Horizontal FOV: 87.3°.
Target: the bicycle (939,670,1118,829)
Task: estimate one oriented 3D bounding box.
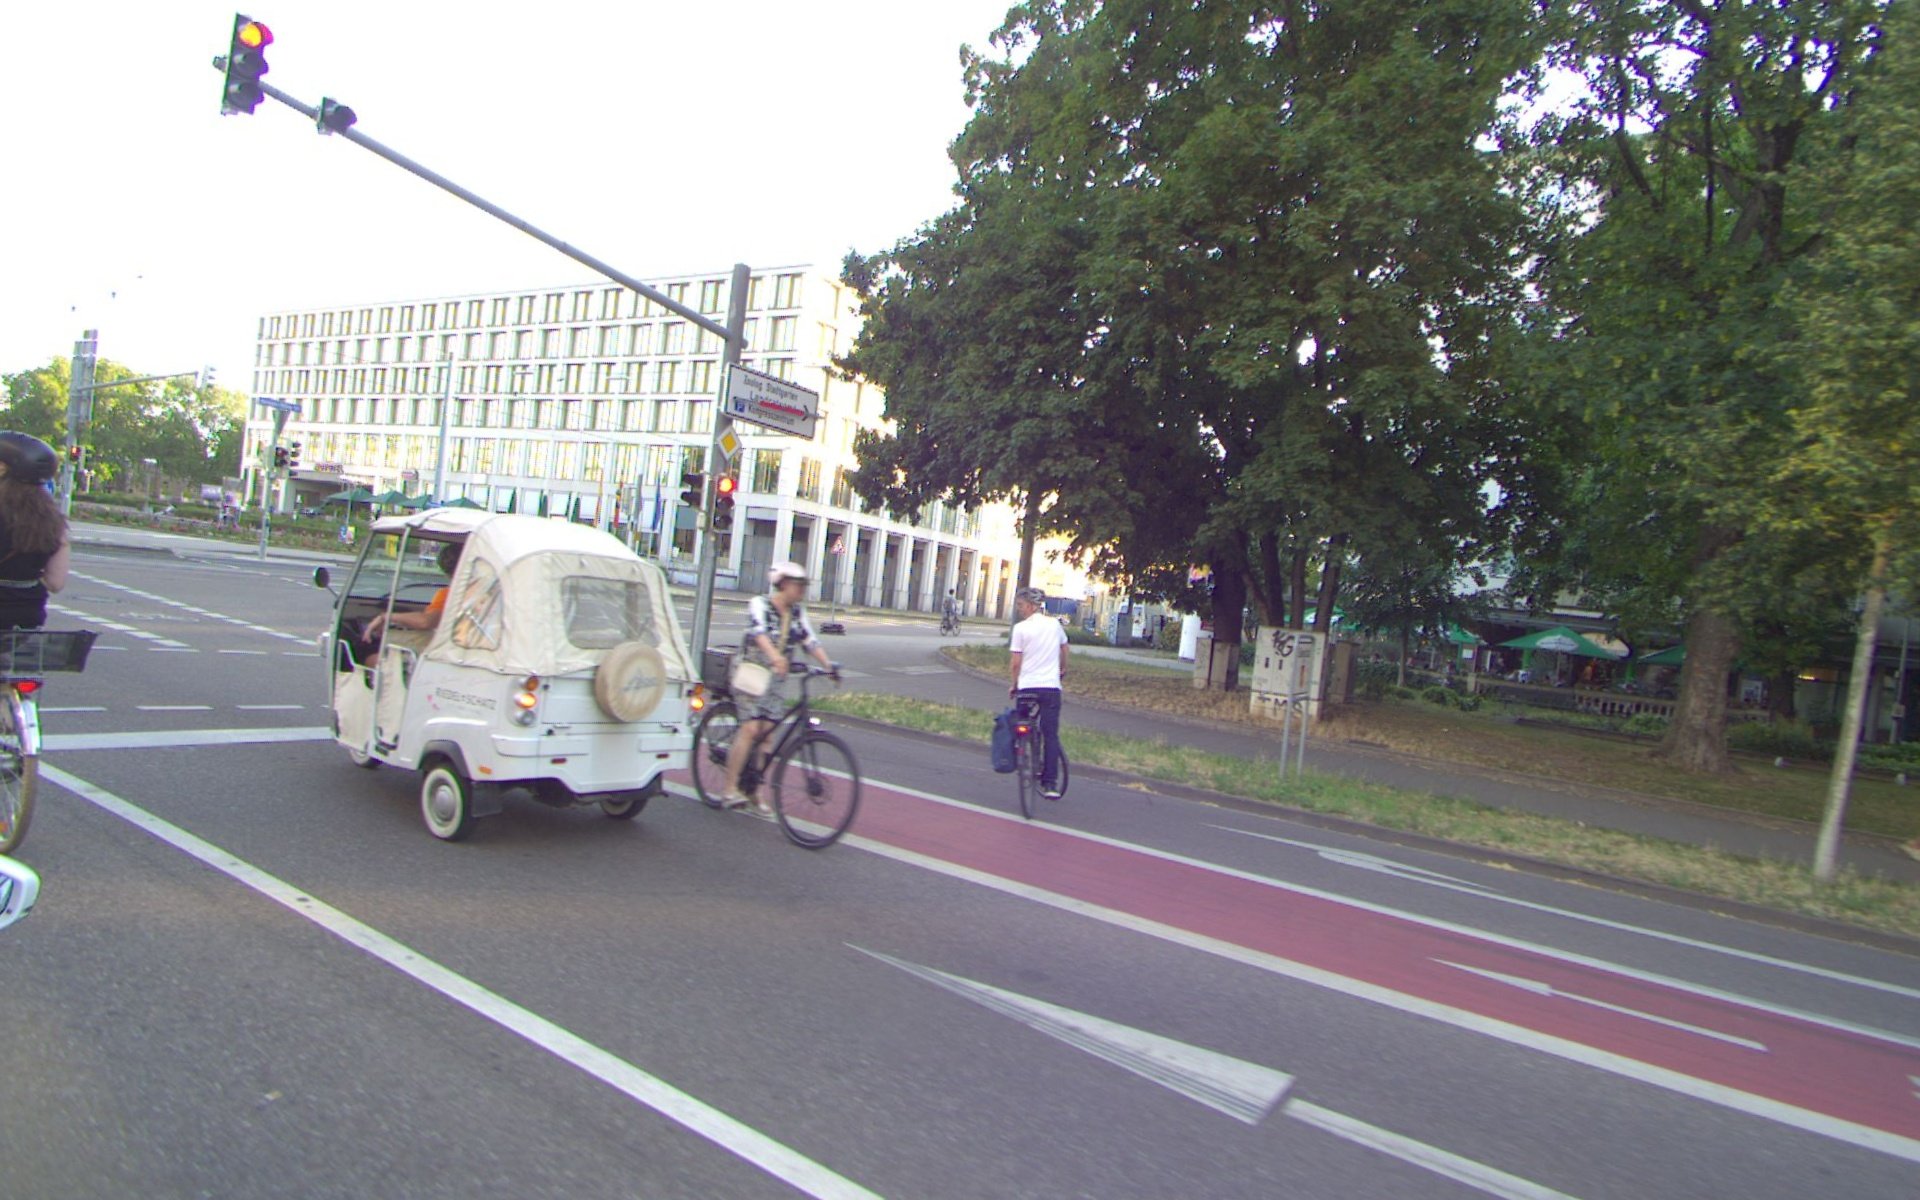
[{"bbox_3d":[0.637,1.199,8.462,0.718,1.081,1.902,7,-1,26],"label":"bicycle"}]

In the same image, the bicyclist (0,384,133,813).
[{"bbox_3d":[-4.109,-0.025,4.252,0.736,1.714,0.628,7,1,31],"label":"bicyclist"}]

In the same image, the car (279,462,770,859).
[{"bbox_3d":[-2.678,0.253,6.113,2.523,1.803,1.460,8,1,34],"label":"car"}]

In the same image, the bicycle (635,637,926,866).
[{"bbox_3d":[-1.233,0.908,6.571,1.995,1.082,0.727,7,-1,44],"label":"bicycle"}]

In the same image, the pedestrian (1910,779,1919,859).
[{"bbox_3d":[10.988,2.043,10.880,0.736,1.714,0.696,7,1,31],"label":"pedestrian"}]

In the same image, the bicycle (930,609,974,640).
[{"bbox_3d":[-0.323,0.998,41.230,0.719,1.082,1.898,7,-1,35],"label":"bicycle"}]

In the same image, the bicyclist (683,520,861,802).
[{"bbox_3d":[-1.246,0.384,6.642,0.710,1.714,0.739,5,2,-44],"label":"bicyclist"}]

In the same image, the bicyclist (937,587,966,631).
[{"bbox_3d":[-0.360,0.369,41.079,0.704,1.714,0.746,7,1,35],"label":"bicyclist"}]

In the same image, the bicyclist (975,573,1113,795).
[{"bbox_3d":[0.722,0.688,8.507,0.752,1.714,0.747,7,1,28],"label":"bicyclist"}]

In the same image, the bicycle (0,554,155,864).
[{"bbox_3d":[-4.414,0.369,4.435,2.035,1.082,0.638,7,0,32],"label":"bicycle"}]
